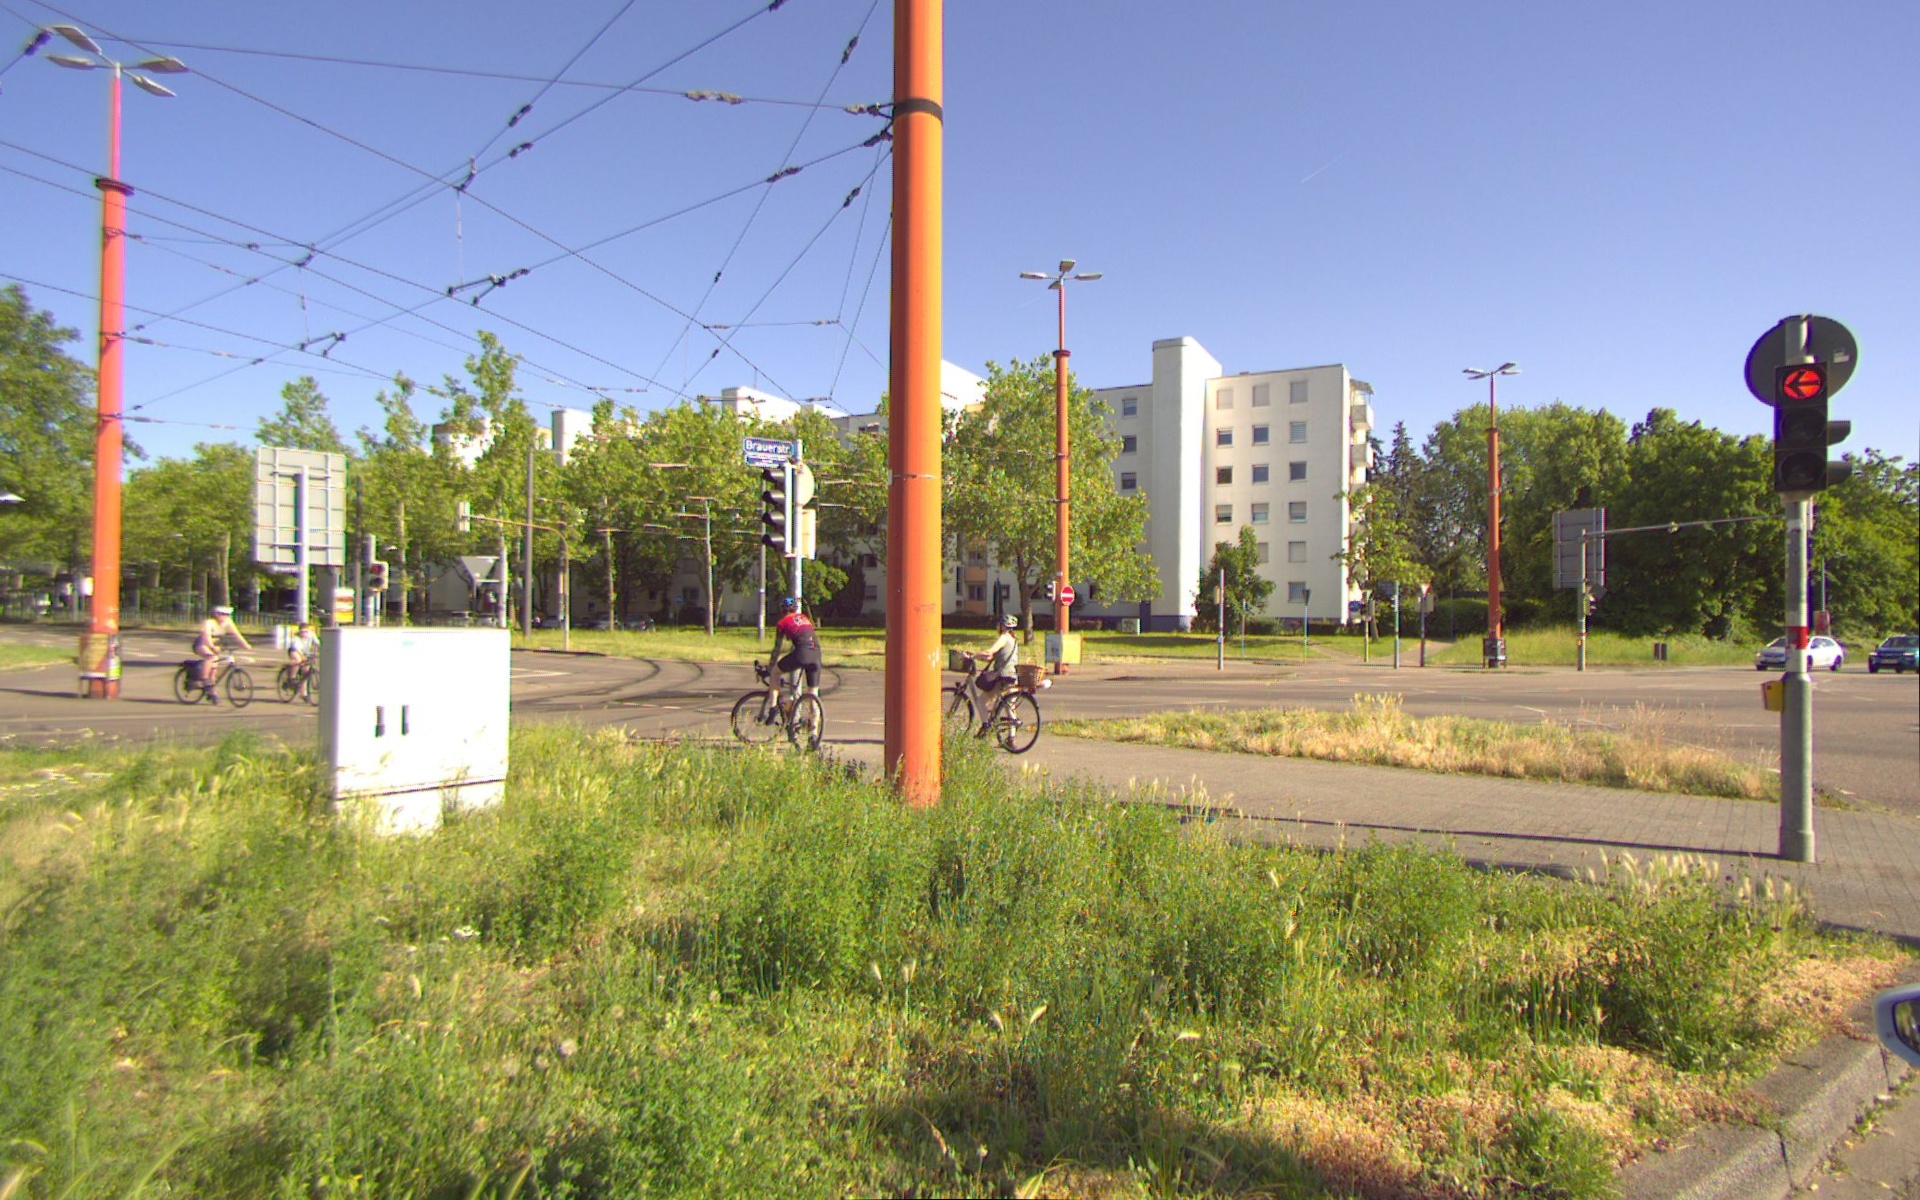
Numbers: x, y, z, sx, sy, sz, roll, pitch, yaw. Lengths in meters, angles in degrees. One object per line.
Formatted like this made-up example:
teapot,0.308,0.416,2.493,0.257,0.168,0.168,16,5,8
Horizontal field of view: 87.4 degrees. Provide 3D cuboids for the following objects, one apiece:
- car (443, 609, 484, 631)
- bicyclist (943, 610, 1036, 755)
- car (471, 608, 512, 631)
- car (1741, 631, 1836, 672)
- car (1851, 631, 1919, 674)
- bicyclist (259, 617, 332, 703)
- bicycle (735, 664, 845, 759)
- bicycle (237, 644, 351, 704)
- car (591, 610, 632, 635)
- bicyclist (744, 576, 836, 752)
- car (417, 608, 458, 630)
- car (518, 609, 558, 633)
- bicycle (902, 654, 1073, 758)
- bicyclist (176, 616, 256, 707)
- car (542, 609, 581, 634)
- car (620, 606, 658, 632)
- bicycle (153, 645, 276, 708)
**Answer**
car,-42.664,1.717,86.456,1.963,1.840,3.995,1,-1,-8
bicyclist,0.365,0.962,12.104,0.728,1.659,0.931,0,-1,35
car,-39.274,1.658,84.334,1.963,1.840,3.995,1,-1,-8
car,35.152,2.156,42.611,4.075,1.594,1.983,1,-1,-32
car,37.276,2.043,39.870,4.079,1.594,1.981,2,-1,-35
bicyclist,-13.205,1.169,19.975,0.726,1.659,0.934,0,-1,18
bicycle,-2.109,1.313,12.242,0.915,0.976,1.747,1,-1,-24
bicycle,-13.244,1.449,19.987,1.849,1.102,0.928,0,-1,18
car,-26.100,1.701,75.337,1.962,1.840,3.997,1,-1,-5
bicyclist,-2.059,0.753,12.146,0.921,2.040,0.736,1,-1,-25
car,-46.013,1.694,88.485,1.963,1.840,3.995,1,-1,-8
car,-33.799,1.687,80.536,1.963,1.840,3.995,1,-1,-8
bicycle,0.321,1.231,12.128,1.855,1.102,0.925,0,-1,34
bicyclist,-13.995,1.141,18.904,0.726,1.659,0.934,0,-1,18
car,-31.183,1.691,78.686,1.963,1.840,3.995,1,-1,-8
car,-23.394,1.413,73.425,1.963,1.840,3.995,1,-1,-8
bicycle,-14.022,1.419,18.903,1.849,1.102,0.928,0,-1,18
